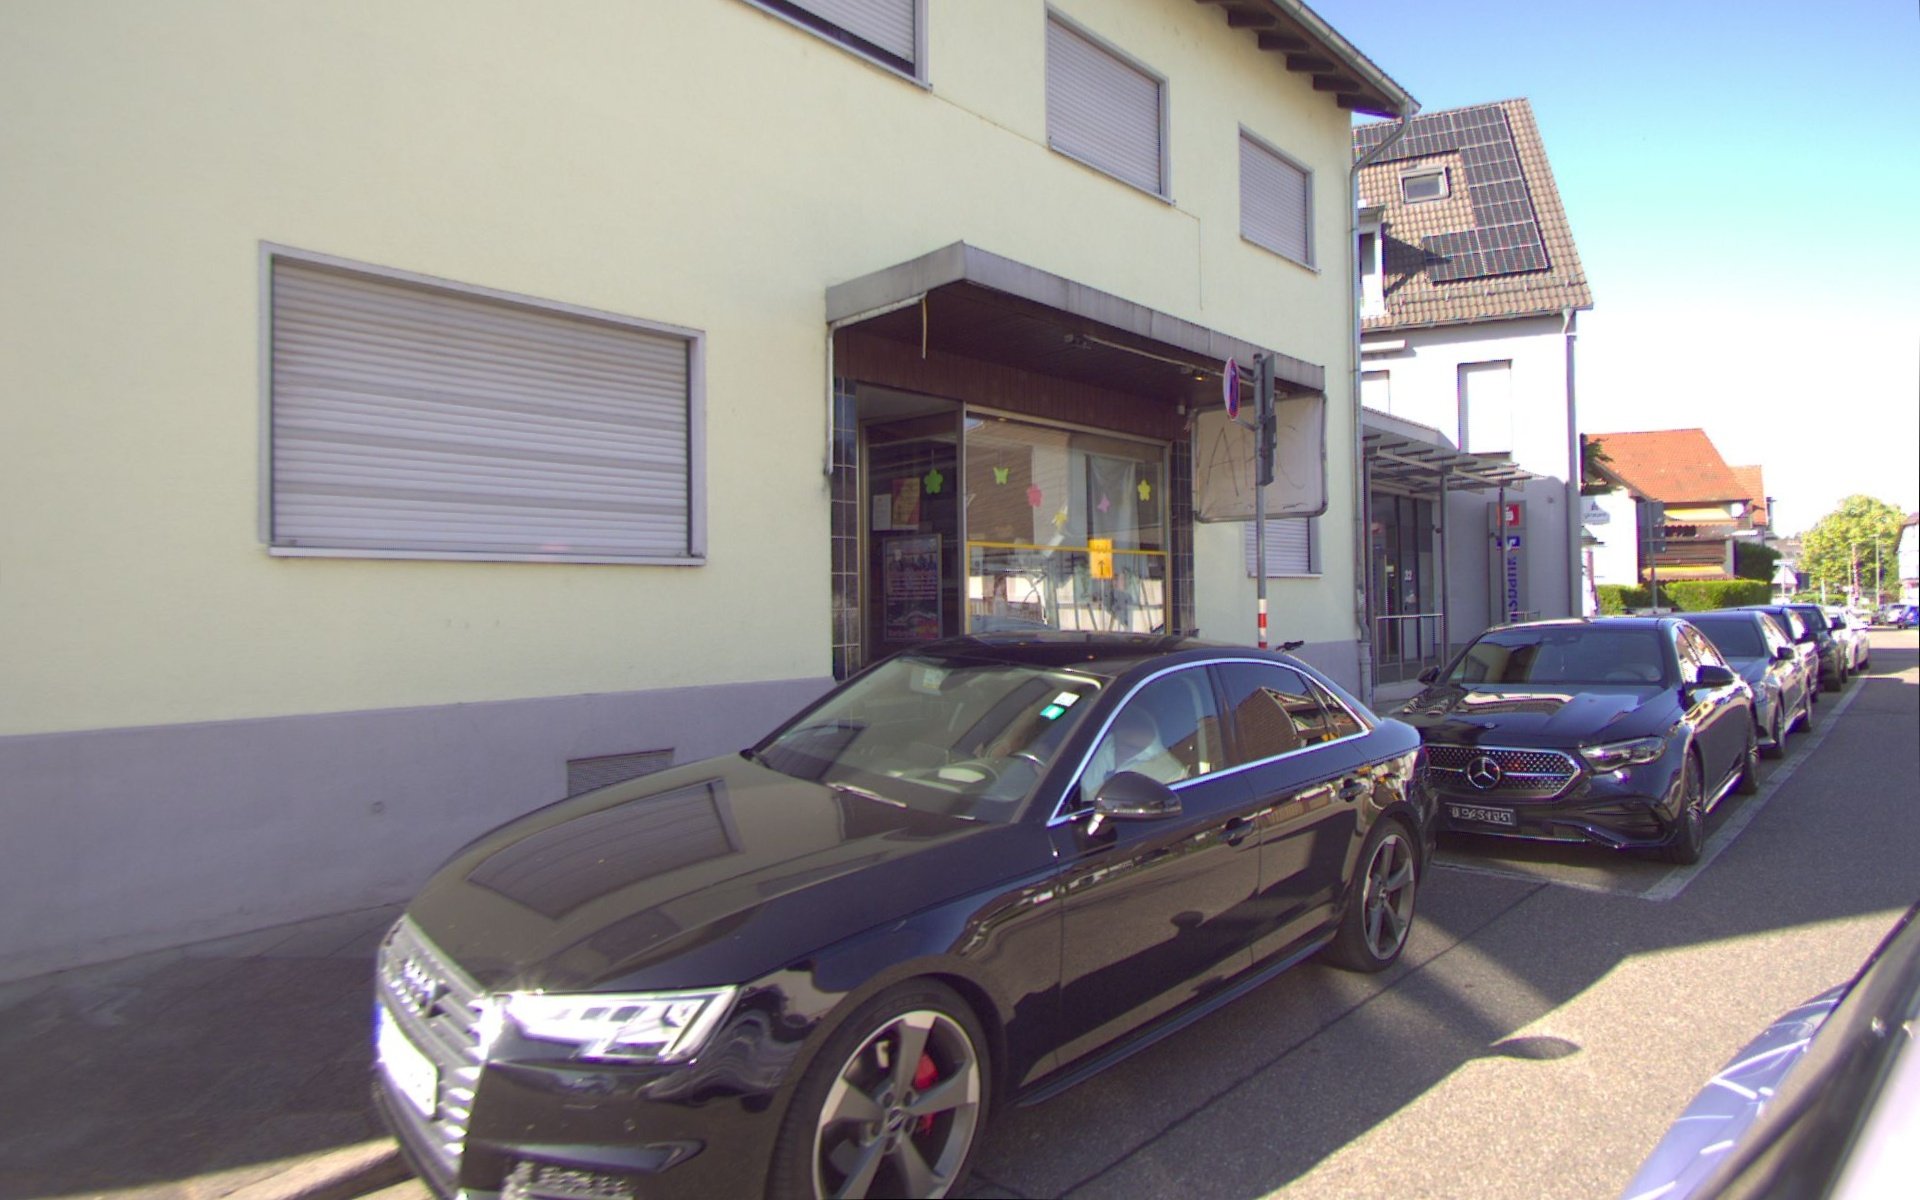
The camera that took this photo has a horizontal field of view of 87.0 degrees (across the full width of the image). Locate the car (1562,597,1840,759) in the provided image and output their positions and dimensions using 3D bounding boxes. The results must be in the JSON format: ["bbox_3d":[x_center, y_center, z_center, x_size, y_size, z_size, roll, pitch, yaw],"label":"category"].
[{"bbox_3d":[8.570,0.750,11.543,4.371,1.494,1.809,0,-2,-44],"label":"car"}]

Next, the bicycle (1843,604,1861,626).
[{"bbox_3d":[48.889,0.799,55.465,0.638,1.197,1.990,-2,-1,43],"label":"bicycle"}]

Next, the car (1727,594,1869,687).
[{"bbox_3d":[15.608,0.703,18.784,3.907,1.540,1.610,0,-2,-45],"label":"car"}]

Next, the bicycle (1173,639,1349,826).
[{"bbox_3d":[2.194,0.890,7.301,1.482,1.172,0.508,0,-2,-43],"label":"bicycle"}]

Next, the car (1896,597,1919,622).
[{"bbox_3d":[62.192,0.594,65.613,1.754,1.576,3.948,0,0,36],"label":"car"}]

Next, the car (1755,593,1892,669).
[{"bbox_3d":[19.442,0.654,22.719,4.430,1.533,1.847,0,-1,-43],"label":"car"}]

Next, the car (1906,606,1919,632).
[{"bbox_3d":[56.468,1.091,58.973,1.615,1.457,3.901,-1,-1,38],"label":"car"}]

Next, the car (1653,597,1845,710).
[{"bbox_3d":[11.992,0.739,15.301,3.811,1.494,1.726,0,-2,-44],"label":"car"}]

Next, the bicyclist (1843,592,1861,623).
[{"bbox_3d":[48.865,0.401,55.455,0.641,1.686,0.595,-3,-3,44],"label":"bicyclist"}]

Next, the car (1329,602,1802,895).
[{"bbox_3d":[4.730,0.795,7.525,4.764,1.494,1.809,0,-2,-44],"label":"car"}]

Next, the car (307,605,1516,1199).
[{"bbox_3d":[0.391,0.803,4.003,4.764,1.494,1.809,0,-2,-44],"label":"car"}]
